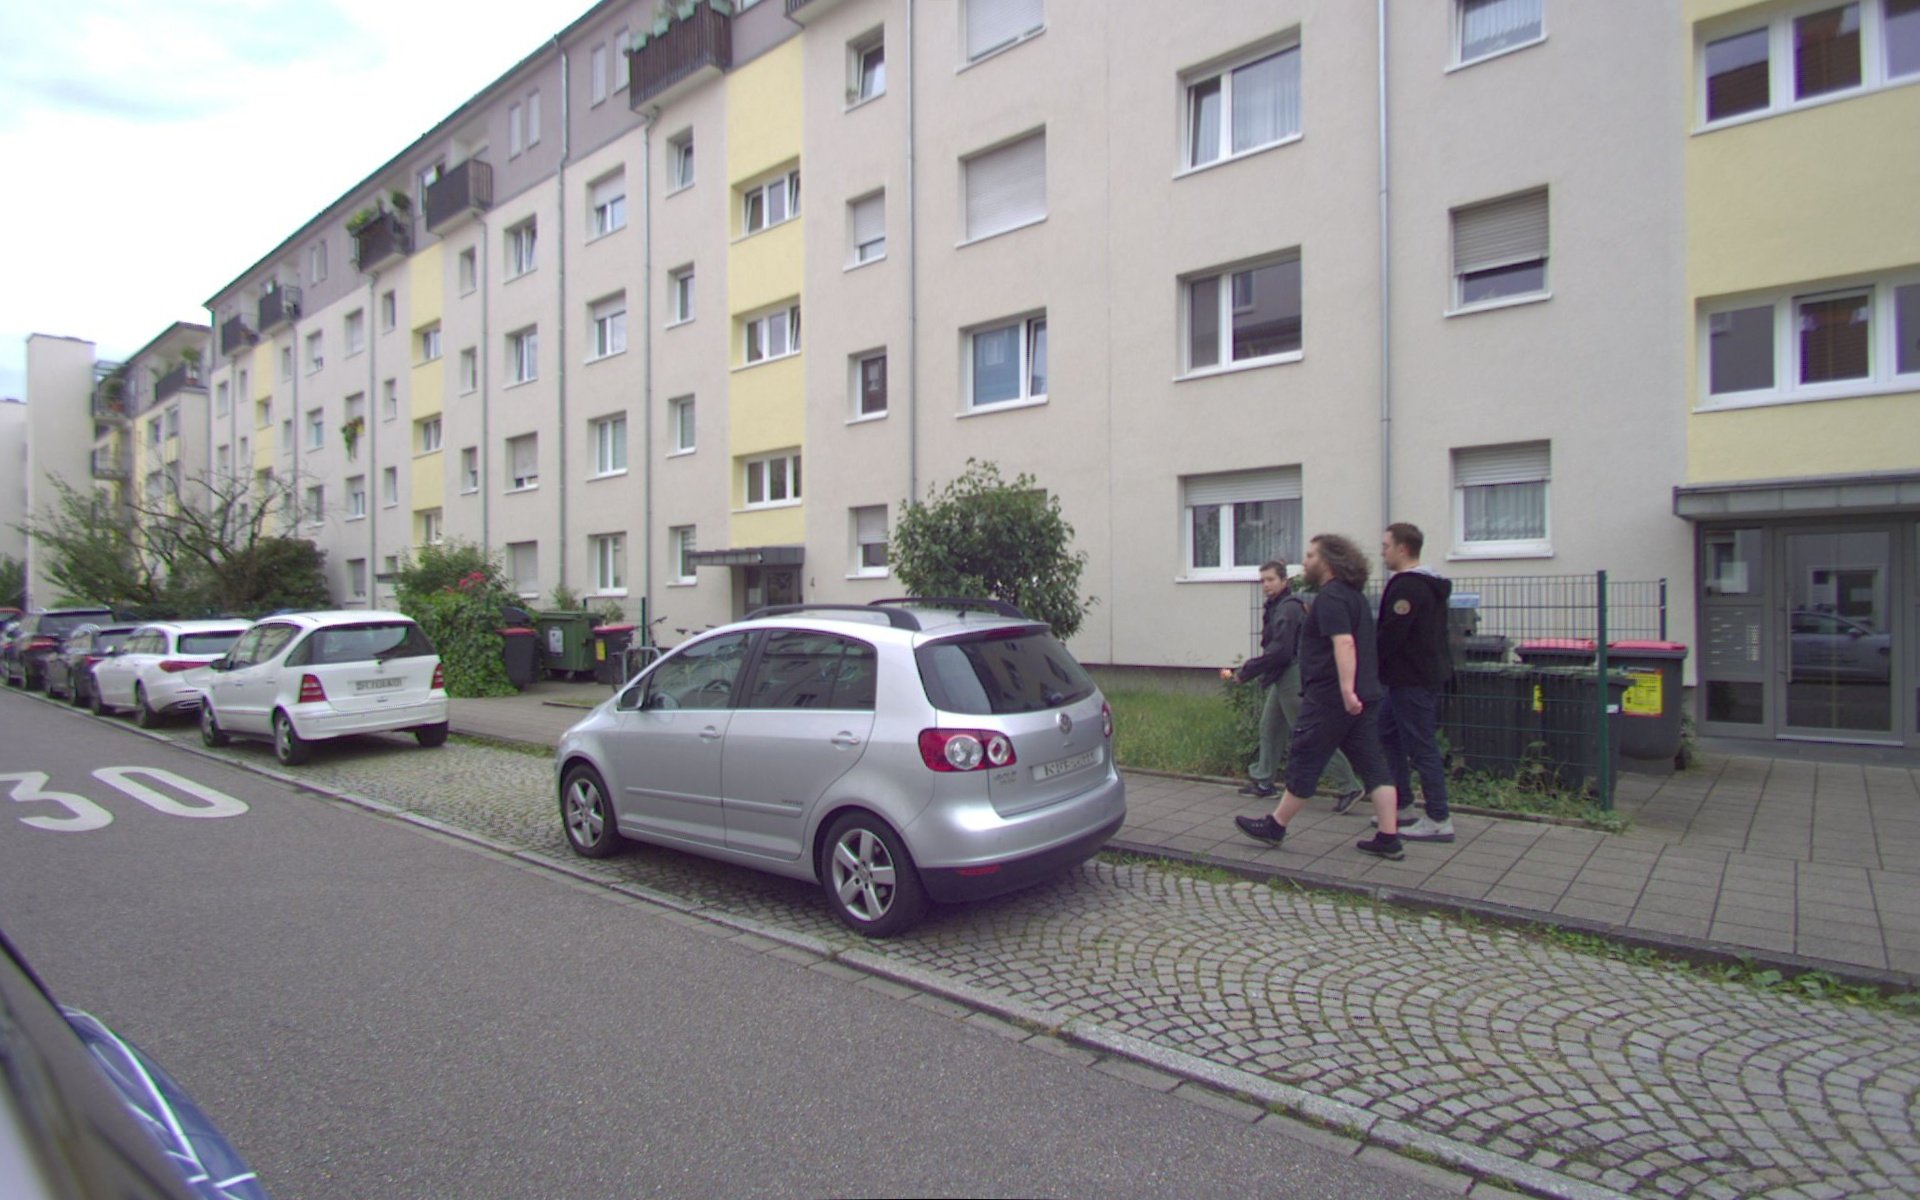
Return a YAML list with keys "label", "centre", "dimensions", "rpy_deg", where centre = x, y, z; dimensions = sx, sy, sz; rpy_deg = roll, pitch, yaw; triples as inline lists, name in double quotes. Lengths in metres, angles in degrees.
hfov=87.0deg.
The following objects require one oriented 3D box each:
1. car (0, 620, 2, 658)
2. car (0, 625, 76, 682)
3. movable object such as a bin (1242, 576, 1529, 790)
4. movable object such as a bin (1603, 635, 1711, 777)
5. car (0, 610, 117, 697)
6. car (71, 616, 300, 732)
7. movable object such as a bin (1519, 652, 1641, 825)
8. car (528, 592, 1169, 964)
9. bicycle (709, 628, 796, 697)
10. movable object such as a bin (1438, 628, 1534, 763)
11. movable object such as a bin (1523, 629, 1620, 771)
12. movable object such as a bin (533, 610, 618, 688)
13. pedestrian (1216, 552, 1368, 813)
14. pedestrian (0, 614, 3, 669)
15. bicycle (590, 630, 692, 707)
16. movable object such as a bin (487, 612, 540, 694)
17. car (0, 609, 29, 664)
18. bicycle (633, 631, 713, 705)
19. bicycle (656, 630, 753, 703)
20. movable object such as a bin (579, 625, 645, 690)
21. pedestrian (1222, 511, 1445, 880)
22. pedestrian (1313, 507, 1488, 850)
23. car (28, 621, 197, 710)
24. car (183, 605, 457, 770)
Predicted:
- label: "car"
  centre: [-38.002, 1.509, 38.577]
  dimensions: [3.537, 1.455, 1.686]
  rpy_deg: [-2, -2, 38]
- label: "car"
  centre: [-25.457, 1.427, 27.496]
  dimensions: [3.537, 1.407, 1.556]
  rpy_deg: [-2, -2, 38]
- label: "movable object such as a bin"
  centre: [3.341, 0.576, 7.927]
  dimensions: [1.670, 1.432, 1.573]
  rpy_deg: [-2, -1, 40]
- label: "movable object such as a bin"
  centre: [5.658, 0.821, 8.206]
  dimensions: [0.633, 1.059, 0.855]
  rpy_deg: [-2, -1, 39]
- label: "car"
  centre: [-20.512, 1.164, 22.808]
  dimensions: [4.448, 1.793, 1.555]
  rpy_deg: [-2, -2, 40]
- label: "car"
  centre: [-11.979, 1.058, 15.546]
  dimensions: [4.681, 1.521, 1.702]
  rpy_deg: [-2, -2, 38]
- label: "movable object such as a bin"
  centre: [4.084, 0.877, 6.663]
  dimensions: [0.597, 1.041, 0.531]
  rpy_deg: [-2, -2, 39]
- label: "car"
  centre: [-0.885, 0.785, 6.167]
  dimensions: [3.912, 1.562, 1.637]
  rpy_deg: [-2, -1, 40]
- label: "bicycle"
  centre: [-3.257, 0.959, 15.797]
  dimensions: [1.557, 1.032, 0.416]
  rpy_deg: [-1, -1, 38]
- label: "movable object such as a bin"
  centre: [4.712, 0.819, 9.058]
  dimensions: [0.597, 1.125, 0.834]
  rpy_deg: [-2, -1, 38]
- label: "movable object such as a bin"
  centre: [5.228, 0.820, 8.640]
  dimensions: [0.597, 1.125, 0.834]
  rpy_deg: [-2, -1, 38]
- label: "movable object such as a bin"
  centre: [-7.289, 0.901, 19.182]
  dimensions: [1.187, 1.385, 1.047]
  rpy_deg: [0, 0, 36]
- label: "pedestrian"
  centre: [2.277, 0.533, 6.957]
  dimensions: [0.802, 1.669, 0.608]
  rpy_deg: [-2, -1, 41]
- label: "pedestrian"
  centre: [-29.871, 1.272, 31.092]
  dimensions: [0.621, 1.679, 0.596]
  rpy_deg: [-2, -1, 38]
- label: "bicycle"
  centre: [-4.603, 0.954, 14.528]
  dimensions: [1.877, 1.032, 0.483]
  rpy_deg: [-2, -1, 41]
- label: "movable object such as a bin"
  centre: [-7.826, 0.914, 17.747]
  dimensions: [0.587, 1.378, 0.651]
  rpy_deg: [0, 0, 36]
- label: "car"
  centre: [-33.301, 1.244, 34.567]
  dimensions: [3.537, 1.820, 1.686]
  rpy_deg: [-2, -2, 38]
- label: "bicycle"
  centre: [-4.219, 0.972, 14.822]
  dimensions: [1.496, 1.032, 0.352]
  rpy_deg: [-2, -1, 40]
- label: "bicycle"
  centre: [-3.840, 0.967, 15.143]
  dimensions: [1.753, 1.032, 0.473]
  rpy_deg: [-2, -1, 40]
- label: "movable object such as a bin"
  centre: [-6.393, 1.035, 18.587]
  dimensions: [0.786, 1.117, 0.861]
  rpy_deg: [0, 0, 36]
- label: "pedestrian"
  centre: [2.095, 0.485, 5.699]
  dimensions: [0.973, 1.877, 0.633]
  rpy_deg: [-2, 0, 41]
- label: "pedestrian"
  centre: [2.627, 0.432, 6.039]
  dimensions: [0.763, 1.868, 0.699]
  rpy_deg: [-2, -1, 40]
- label: "car"
  centre: [-15.911, 1.125, 18.917]
  dimensions: [4.480, 1.464, 1.707]
  rpy_deg: [-1, -1, 41]
- label: "car"
  centre: [-7.655, 0.918, 11.991]
  dimensions: [3.724, 1.651, 1.668]
  rpy_deg: [-1, -1, 39]
